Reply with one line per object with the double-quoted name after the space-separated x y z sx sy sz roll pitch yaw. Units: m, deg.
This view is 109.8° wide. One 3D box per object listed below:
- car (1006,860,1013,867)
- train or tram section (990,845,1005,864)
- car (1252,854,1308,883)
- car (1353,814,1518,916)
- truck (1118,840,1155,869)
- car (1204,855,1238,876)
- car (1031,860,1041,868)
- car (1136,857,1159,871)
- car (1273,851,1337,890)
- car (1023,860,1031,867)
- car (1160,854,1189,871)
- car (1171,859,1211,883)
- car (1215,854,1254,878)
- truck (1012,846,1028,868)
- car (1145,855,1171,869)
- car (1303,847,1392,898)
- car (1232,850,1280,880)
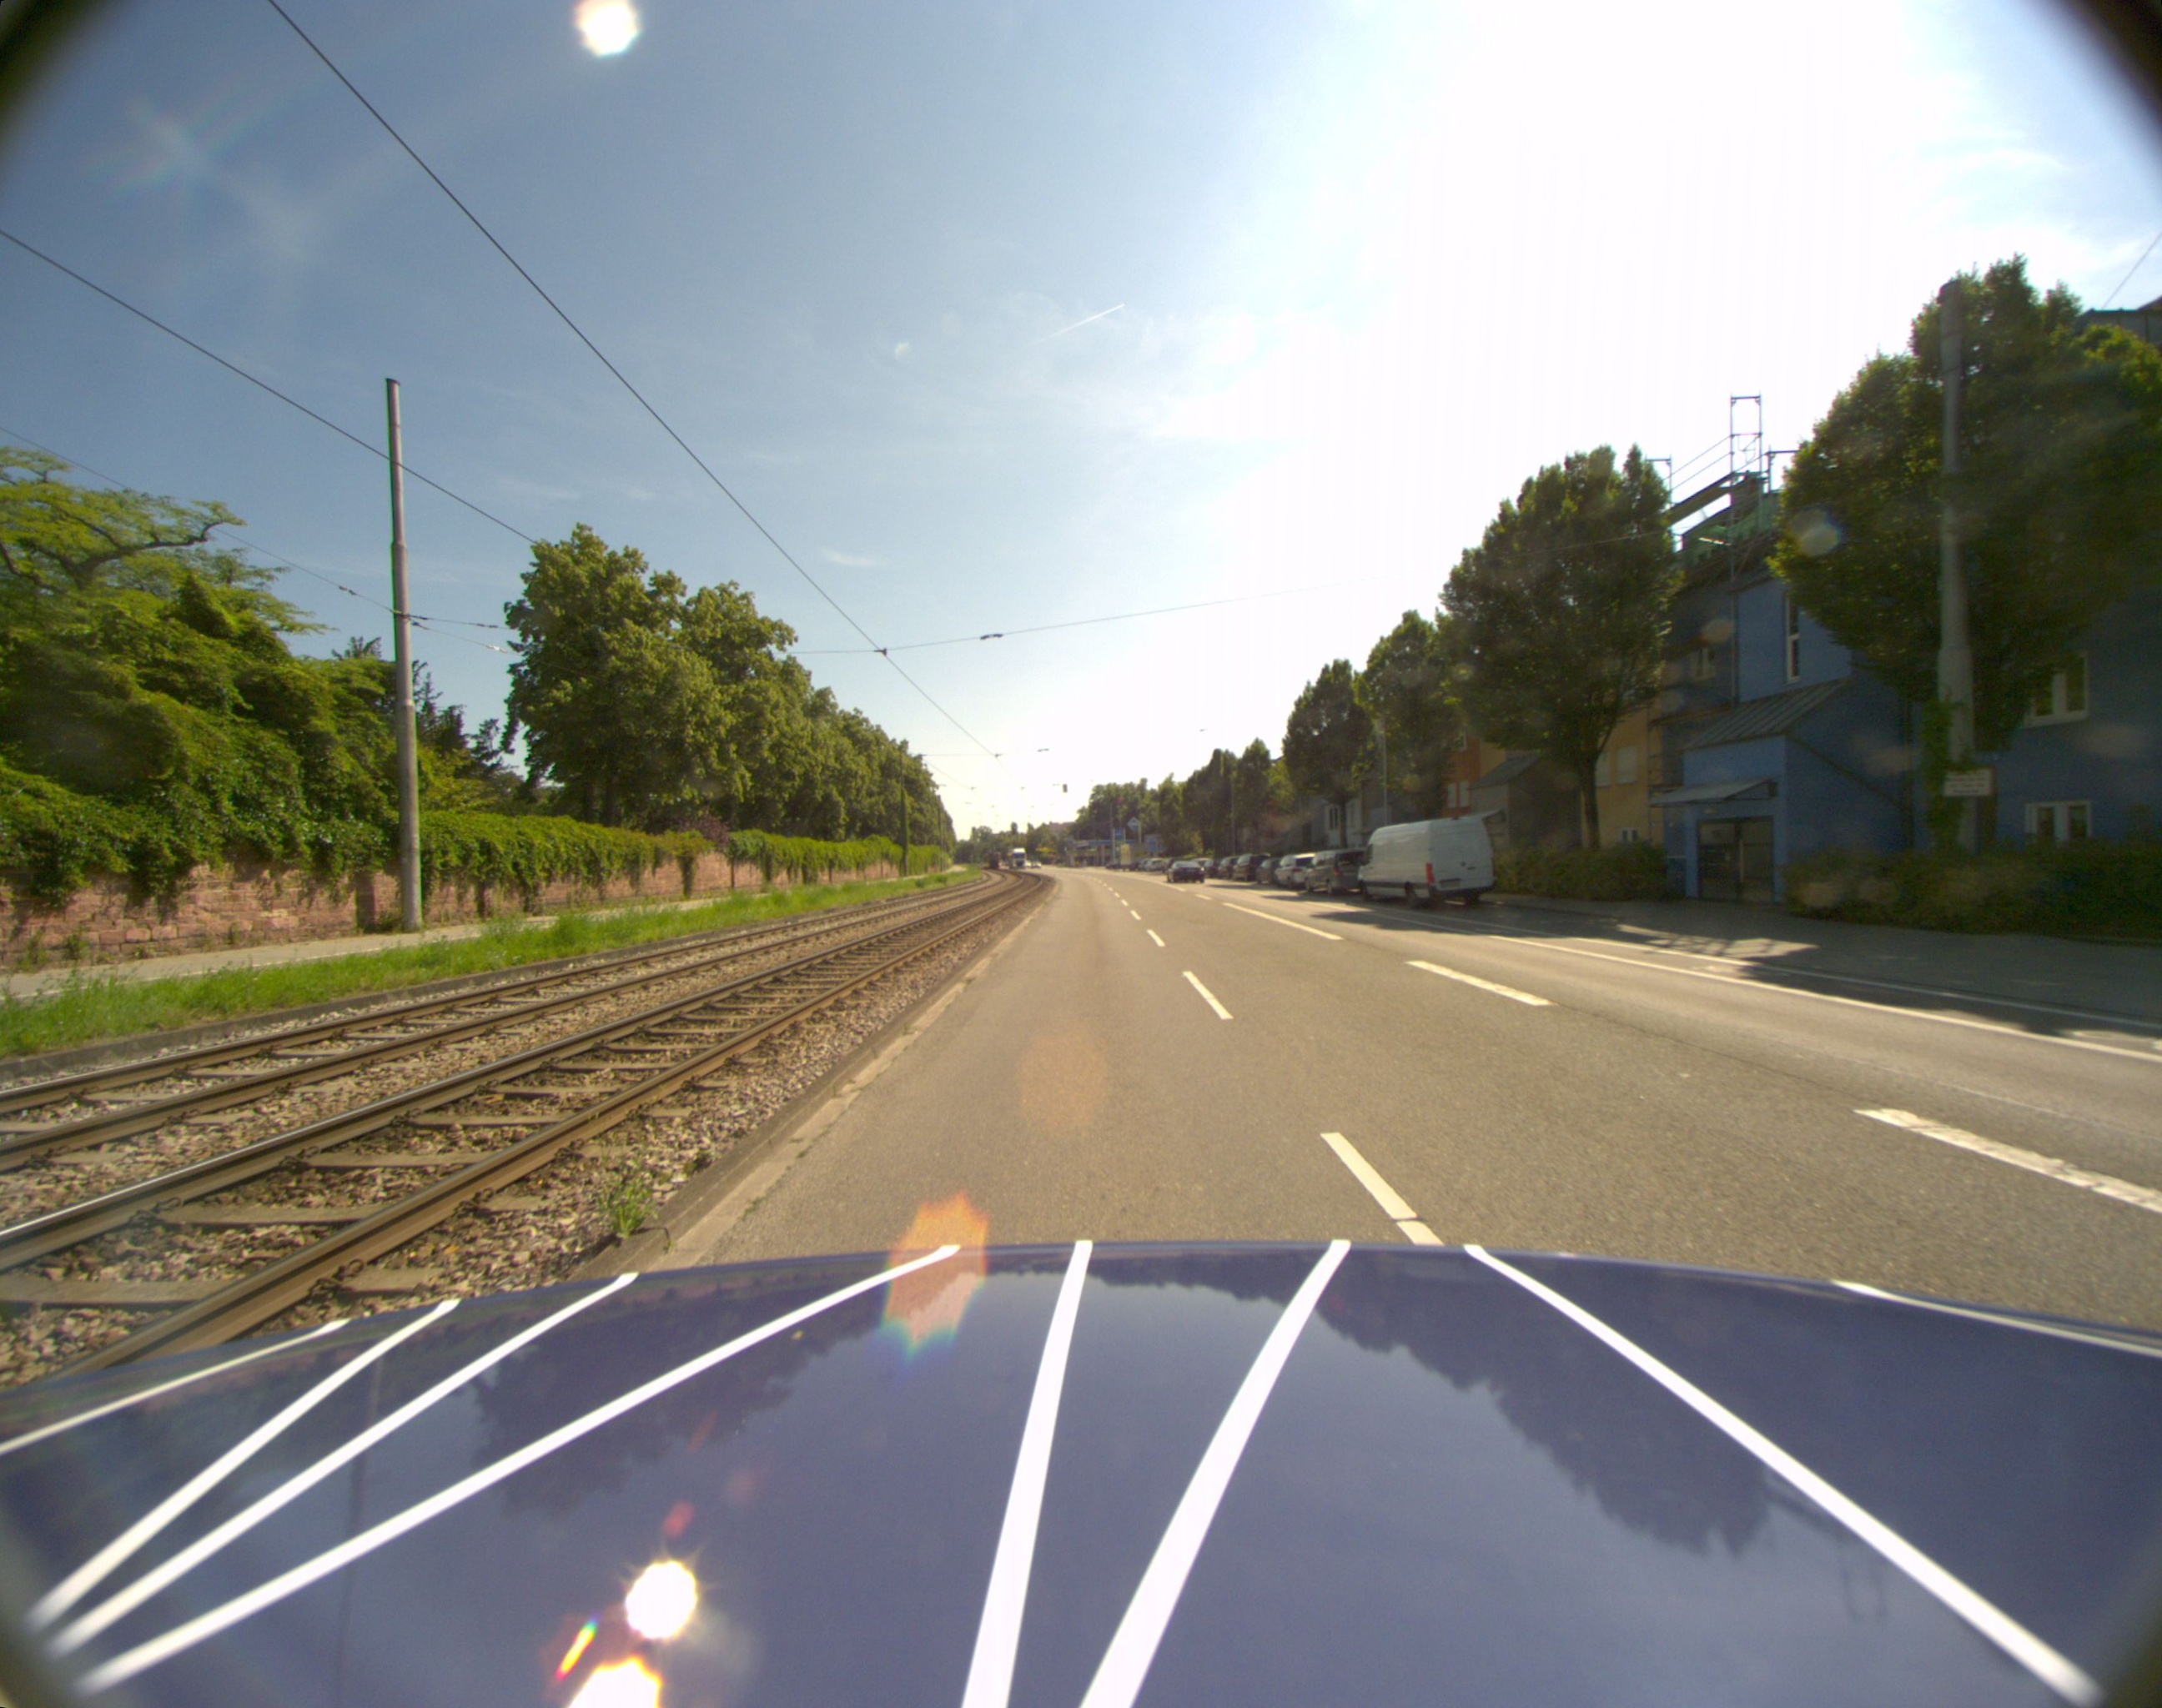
-20.219 2.595 214.758 1.855 1.707 3.997 -3 1 -8 "car"
-18.101 0.135 165.180 2.722 3.716 18.869 -2 0 -5 "train or tram section"
11.398 0.794 43.721 1.871 1.447 4.074 -5 0 -3 "car"
11.051 0.314 24.505 1.998 2.661 7.087 -5 0 2 "car"
7.083 0.048 98.193 3.165 3.533 8.780 -1 0 -6 "truck"
11.025 0.890 60.157 1.681 1.462 4.212 -3 0 -3 "car"
-9.035 1.931 151.354 1.748 1.421 5.039 -2 0 -5 "car"
7.883 1.168 90.843 1.915 1.469 4.214 -3 0 -5 "car"
11.178 0.775 38.171 1.852 1.693 4.540 -5 0 2 "car"
-12.090 2.156 170.349 1.785 1.538 4.392 -3 0 -5 "car"
9.540 0.853 78.136 1.910 1.567 4.929 -3 0 -5 "car"
6.149 0.938 42.765 1.691 1.237 4.064 0 0 1 "car"
10.905 0.814 54.271 1.681 1.598 4.164 -3 0 -3 "car"
-11.927 0.582 148.202 2.806 3.926 11.936 -1 0 -6 "truck"
8.648 0.889 85.838 2.040 1.490 4.131 -3 0 -5 "car"
11.272 0.728 32.559 1.998 1.855 4.967 -5 0 1 "car"
11.174 0.660 48.787 1.834 1.718 4.349 -4 0 -3 "car"
